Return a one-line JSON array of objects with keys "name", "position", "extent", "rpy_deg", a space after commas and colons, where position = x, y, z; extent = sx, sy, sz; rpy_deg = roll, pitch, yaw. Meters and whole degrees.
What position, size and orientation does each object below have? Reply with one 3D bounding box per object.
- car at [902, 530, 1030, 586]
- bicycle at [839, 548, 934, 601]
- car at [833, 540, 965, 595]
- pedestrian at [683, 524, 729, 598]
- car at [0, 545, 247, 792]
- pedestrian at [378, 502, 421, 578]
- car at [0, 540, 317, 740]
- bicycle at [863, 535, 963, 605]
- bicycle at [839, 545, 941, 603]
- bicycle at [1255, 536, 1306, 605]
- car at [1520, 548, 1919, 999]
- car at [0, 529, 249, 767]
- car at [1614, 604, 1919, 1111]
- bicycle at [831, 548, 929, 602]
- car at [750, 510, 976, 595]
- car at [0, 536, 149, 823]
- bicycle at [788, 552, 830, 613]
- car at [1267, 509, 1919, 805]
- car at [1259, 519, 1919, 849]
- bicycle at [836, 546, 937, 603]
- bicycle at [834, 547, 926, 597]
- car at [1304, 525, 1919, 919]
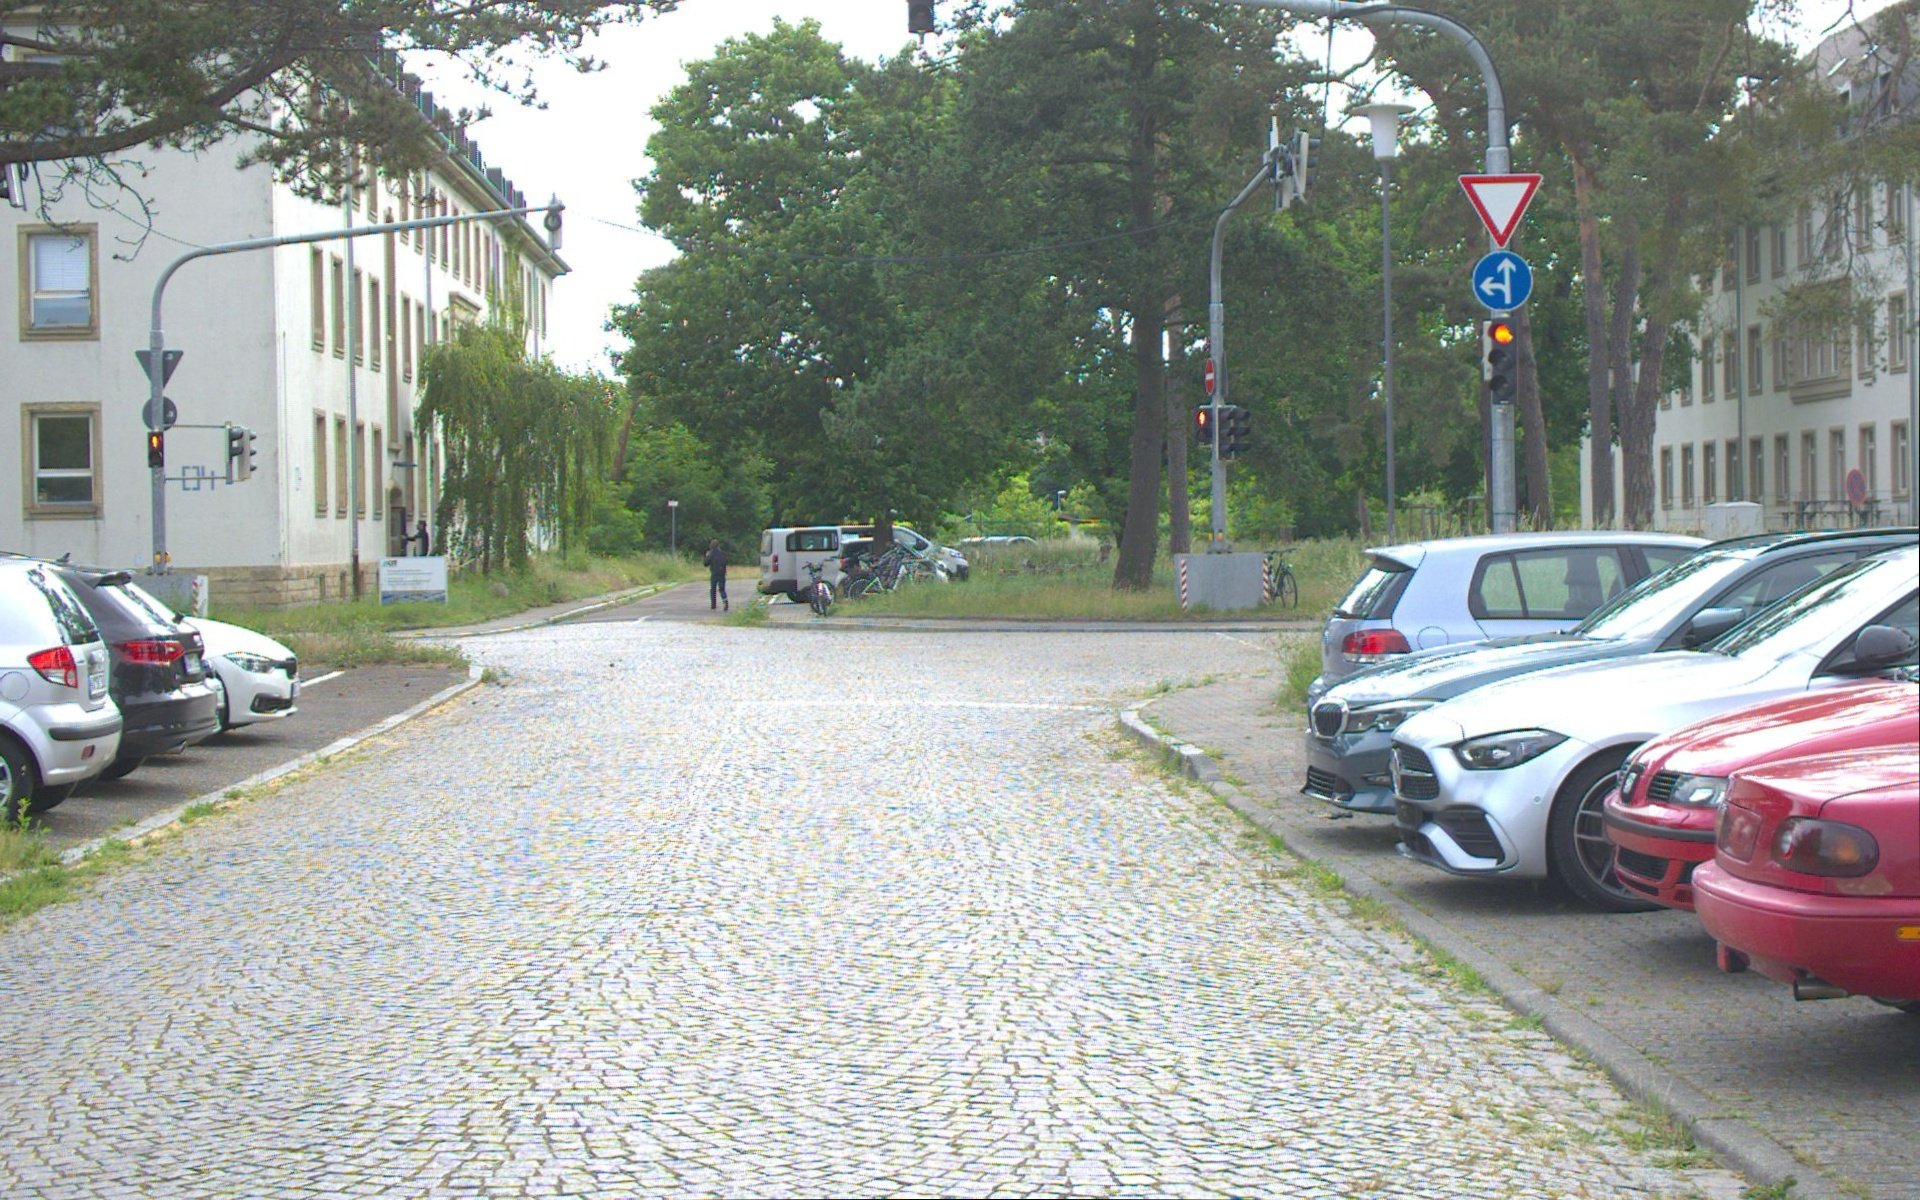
[{"name": "car", "position": [0.139, -1.112, 90.469], "extent": [3.231, 1.411, 1.725], "rpy_deg": [-1, 1, -4]}, {"name": "bicycle", "position": [-1.536, -0.538, 71.918], "extent": [1.955, 1.066, 0.588], "rpy_deg": [-1, 1, -31]}, {"name": "car", "position": [-1.482, -0.794, 83.172], "extent": [3.005, 1.264, 1.536], "rpy_deg": [-1, 1, -8]}, {"name": "pedestrian", "position": [-5.565, -0.855, 75.194], "extent": [0.738, 1.613, 0.776], "rpy_deg": [-1, 1, -27]}, {"name": "car", "position": [-6.419, 0.364, 21.234], "extent": [3.745, 1.424, 1.583], "rpy_deg": [2, 1, -5]}, {"name": "pedestrian", "position": [-13.664, -1.460, 83.827], "extent": [0.774, 1.831, 0.741], "rpy_deg": [-2, 1, -33]}, {"name": "car", "position": [-7.093, 0.265, 26.538], "extent": [3.947, 1.416, 1.650], "rpy_deg": [2, 1, -3]}, {"name": "bicycle", "position": [-0.966, -0.612, 69.929], "extent": [1.954, 1.379, 0.588], "rpy_deg": [-1, 1, -9]}, {"name": "bicycle", "position": [-1.388, -0.523, 68.453], "extent": [1.954, 1.128, 0.588], "rpy_deg": [-1, 1, -9]}, {"name": "bicycle", "position": [5.262, -0.501, 56.529], "extent": [0.586, 1.102, 1.962], "rpy_deg": [-1, 1, -2]}, {"name": "car", "position": [4.342, 0.499, 12.347], "extent": [4.261, 1.411, 1.871], "rpy_deg": [-3, 1, -2]}, {"name": "car", "position": [-7.087, 0.278, 24.000], "extent": [3.947, 1.558, 1.650], "rpy_deg": [2, 1, -5]}, {"name": "car", "position": [4.021, 0.603, 9.854], "extent": [3.862, 1.232, 1.758], "rpy_deg": [-3, 1, -3]}, {"name": "bicycle", "position": [-1.637, -0.513, 70.564], "extent": [1.955, 1.066, 0.588], "rpy_deg": [-1, 1, -31]}, {"name": "car", "position": [-2.452, -1.208, 86.508], "extent": [5.359, 1.918, 2.025], "rpy_deg": [-2, 1, -11]}, {"name": "car", "position": [-6.418, 0.355, 18.635], "extent": [3.702, 1.474, 1.583], "rpy_deg": [2, 1, -5]}, {"name": "bicycle", "position": [-2.874, -0.345, 65.214], "extent": [0.603, 1.128, 1.962], "rpy_deg": [-1, 1, -8]}, {"name": "car", "position": [3.832, 0.291, 19.741], "extent": [3.927, 1.472, 1.642], "rpy_deg": [-2, 1, 0]}, {"name": "car", "position": [3.999, 0.347, 17.293], "extent": [4.680, 1.411, 1.871], "rpy_deg": [-3, 1, -4]}, {"name": "bicycle", "position": [-1.475, -0.511, 69.084], "extent": [1.954, 1.113, 0.588], "rpy_deg": [-1, 1, -9]}, {"name": "bicycle", "position": [-1.756, -0.618, 75.599], "extent": [1.955, 1.066, 0.588], "rpy_deg": [-1, 1, -26]}, {"name": "car", "position": [3.885, 0.410, 14.602], "extent": [4.421, 1.411, 1.871], "rpy_deg": [-3, 1, -11]}]
